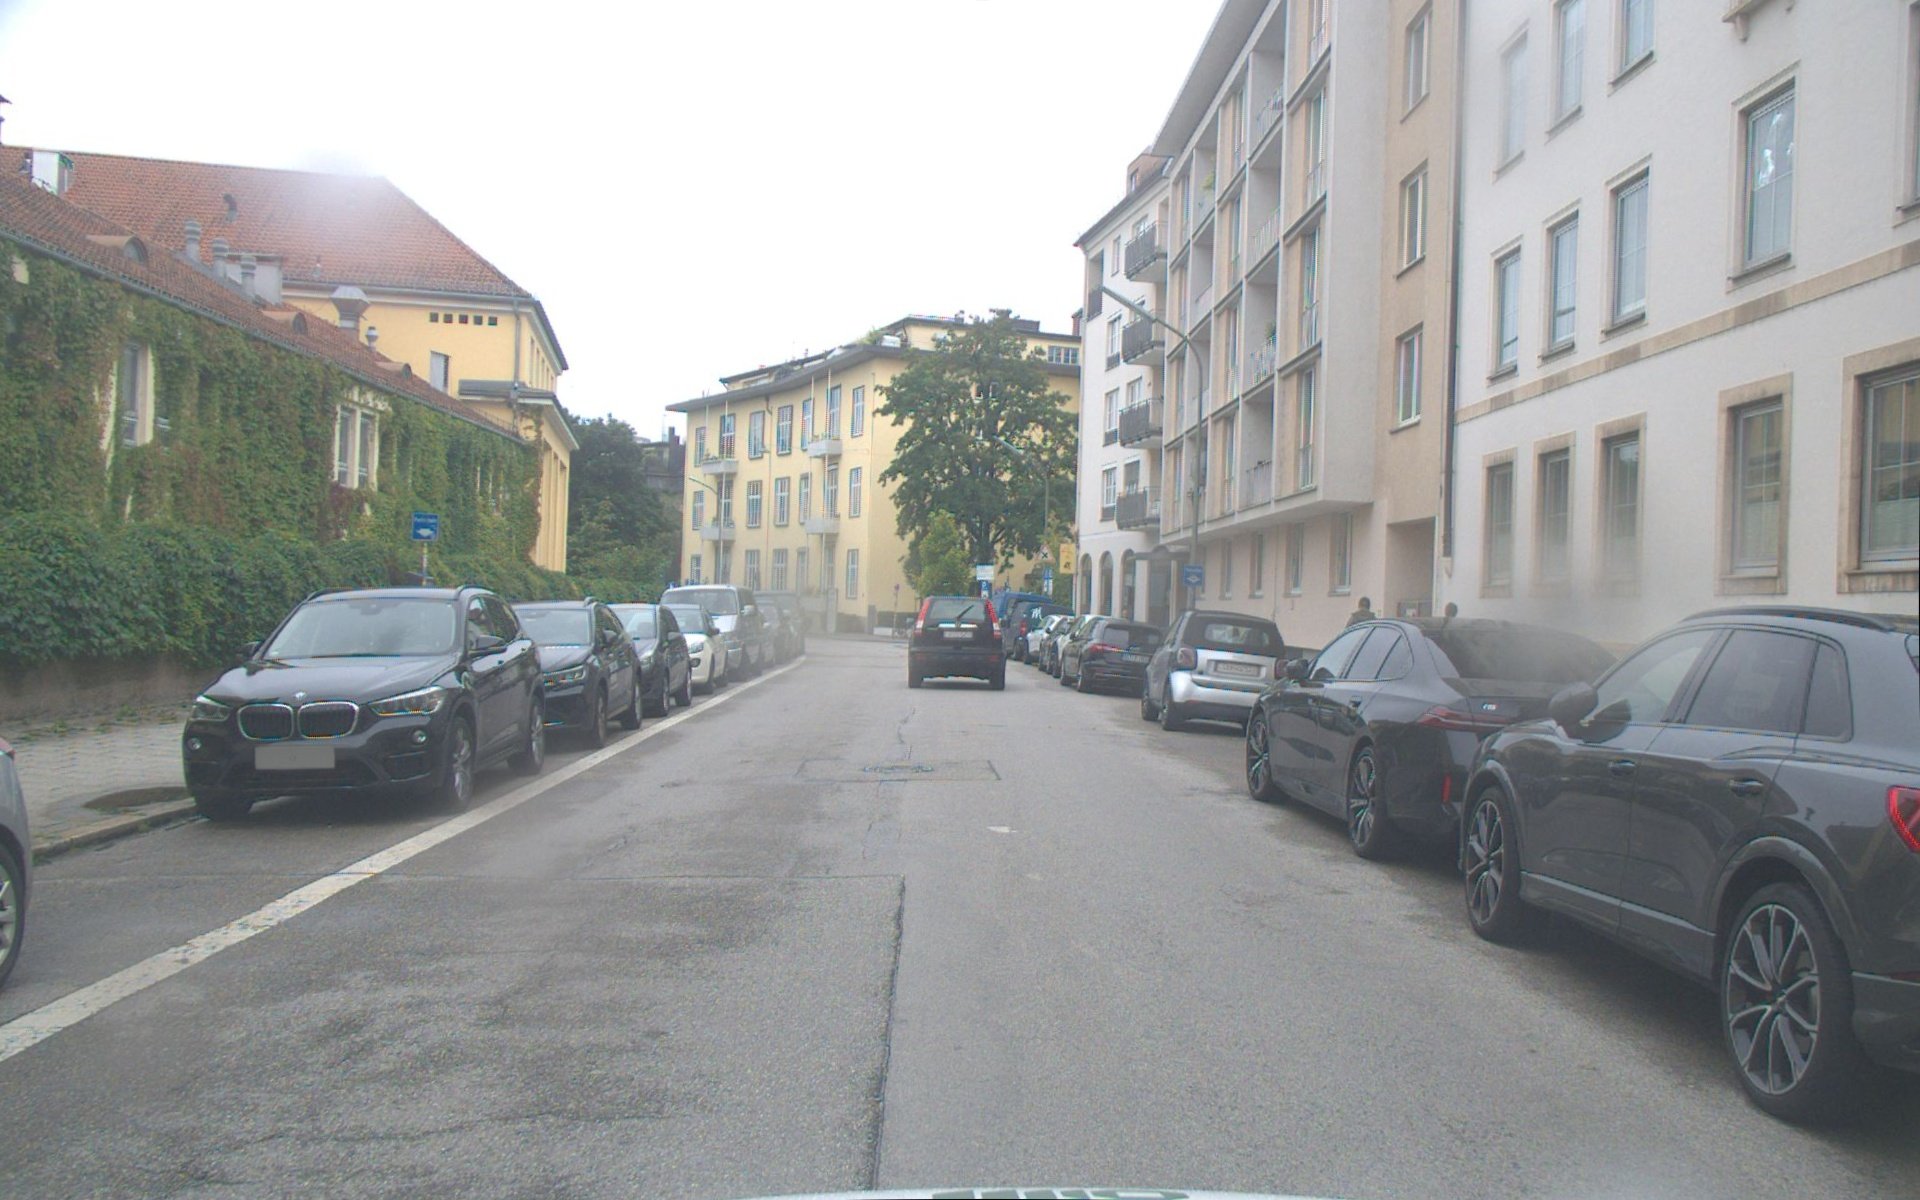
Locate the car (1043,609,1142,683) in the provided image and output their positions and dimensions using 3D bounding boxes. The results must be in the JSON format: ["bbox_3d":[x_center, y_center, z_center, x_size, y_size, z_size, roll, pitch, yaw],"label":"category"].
[{"bbox_3d":[3.021,1.027,38.365,1.704,1.525,4.216,2,0,-3],"label":"car"}]

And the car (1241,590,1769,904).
[{"bbox_3d":[3.353,0.795,11.326,1.819,1.571,4.814,4,0,-2],"label":"car"}]

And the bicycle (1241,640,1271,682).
[{"bbox_3d":[7.090,1.455,39.661,0.435,0.952,1.401,1,0,-2],"label":"bicycle"}]

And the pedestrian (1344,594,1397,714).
[{"bbox_3d":[5.879,0.763,23.687,0.584,1.683,0.630,1,0,-1],"label":"pedestrian"}]

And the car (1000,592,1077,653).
[{"bbox_3d":[2.514,0.689,53.943,1.925,1.848,4.932,2,0,-4],"label":"car"}]

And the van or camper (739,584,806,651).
[{"bbox_3d":[-6.106,0.558,54.407,1.922,2.101,4.750,1,0,-4],"label":"van or camper"}]

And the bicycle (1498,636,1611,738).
[{"bbox_3d":[7.503,1.071,20.967,0.645,1.183,2.027,1,0,-1],"label":"bicycle"}]

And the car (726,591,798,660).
[{"bbox_3d":[-5.270,0.652,44.396,1.587,1.760,4.422,1,0,-3],"label":"car"}]

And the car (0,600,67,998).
[{"bbox_3d":[-4.294,0.762,4.545,1.646,1.450,3.893,-2,0,-2],"label":"car"}]

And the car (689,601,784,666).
[{"bbox_3d":[-5.208,0.746,39.016,1.666,1.447,4.424,1,0,-1],"label":"car"}]

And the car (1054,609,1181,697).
[{"bbox_3d":[3.016,0.978,32.507,1.760,1.445,4.480,4,0,-3],"label":"car"}]

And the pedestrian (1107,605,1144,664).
[{"bbox_3d":[4.964,1.020,49.706,0.880,1.717,1.319,1,-1,-3],"label":"pedestrian"}]

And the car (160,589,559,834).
[{"bbox_3d":[-4.357,0.711,12.717,1.746,1.565,4.192,0,0,-3],"label":"car"}]

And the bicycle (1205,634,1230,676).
[{"bbox_3d":[6.635,1.424,42.726,0.382,1.041,1.401,1,0,-2],"label":"bicycle"}]

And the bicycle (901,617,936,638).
[{"bbox_3d":[-2.443,1.624,97.153,2.176,1.136,0.607,2,-1,40],"label":"bicycle"}]

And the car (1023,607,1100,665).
[{"bbox_3d":[2.925,1.019,48.448,1.704,1.564,4.270,1,0,-4],"label":"car"}]

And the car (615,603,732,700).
[{"bbox_3d":[-4.833,0.822,28.308,1.547,1.518,3.727,-1,0,-3],"label":"car"}]

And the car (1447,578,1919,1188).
[{"bbox_3d":[3.427,0.803,6.341,1.742,1.612,4.271,4,0,-1],"label":"car"}]

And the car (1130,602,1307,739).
[{"bbox_3d":[3.424,0.887,22.551,1.638,1.561,3.880,5,0,-1],"label":"car"}]

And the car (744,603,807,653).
[{"bbox_3d":[-5.511,0.812,49.811,1.587,1.402,4.070,1,0,-3],"label":"car"}]

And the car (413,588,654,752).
[{"bbox_3d":[-4.486,0.674,18.013,1.746,1.565,4.146,1,0,-3],"label":"car"}]

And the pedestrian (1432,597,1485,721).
[{"bbox_3d":[6.587,0.770,21.872,0.520,1.612,0.560,1,0,-1],"label":"pedestrian"}]

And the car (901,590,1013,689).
[{"bbox_3d":[0.000,0.696,31.307,1.954,1.724,4.381,1,0,1],"label":"car"}]

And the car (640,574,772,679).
[{"bbox_3d":[-5.024,0.509,33.348,1.953,1.908,4.757,-1,0,-1],"label":"car"}]

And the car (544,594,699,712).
[{"bbox_3d":[-4.592,0.676,22.894,1.547,1.481,3.902,1,0,-3],"label":"car"}]

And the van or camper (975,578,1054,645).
[{"bbox_3d":[1.909,0.394,59.737,2.021,2.270,5.429,1,0,-7],"label":"van or camper"}]
